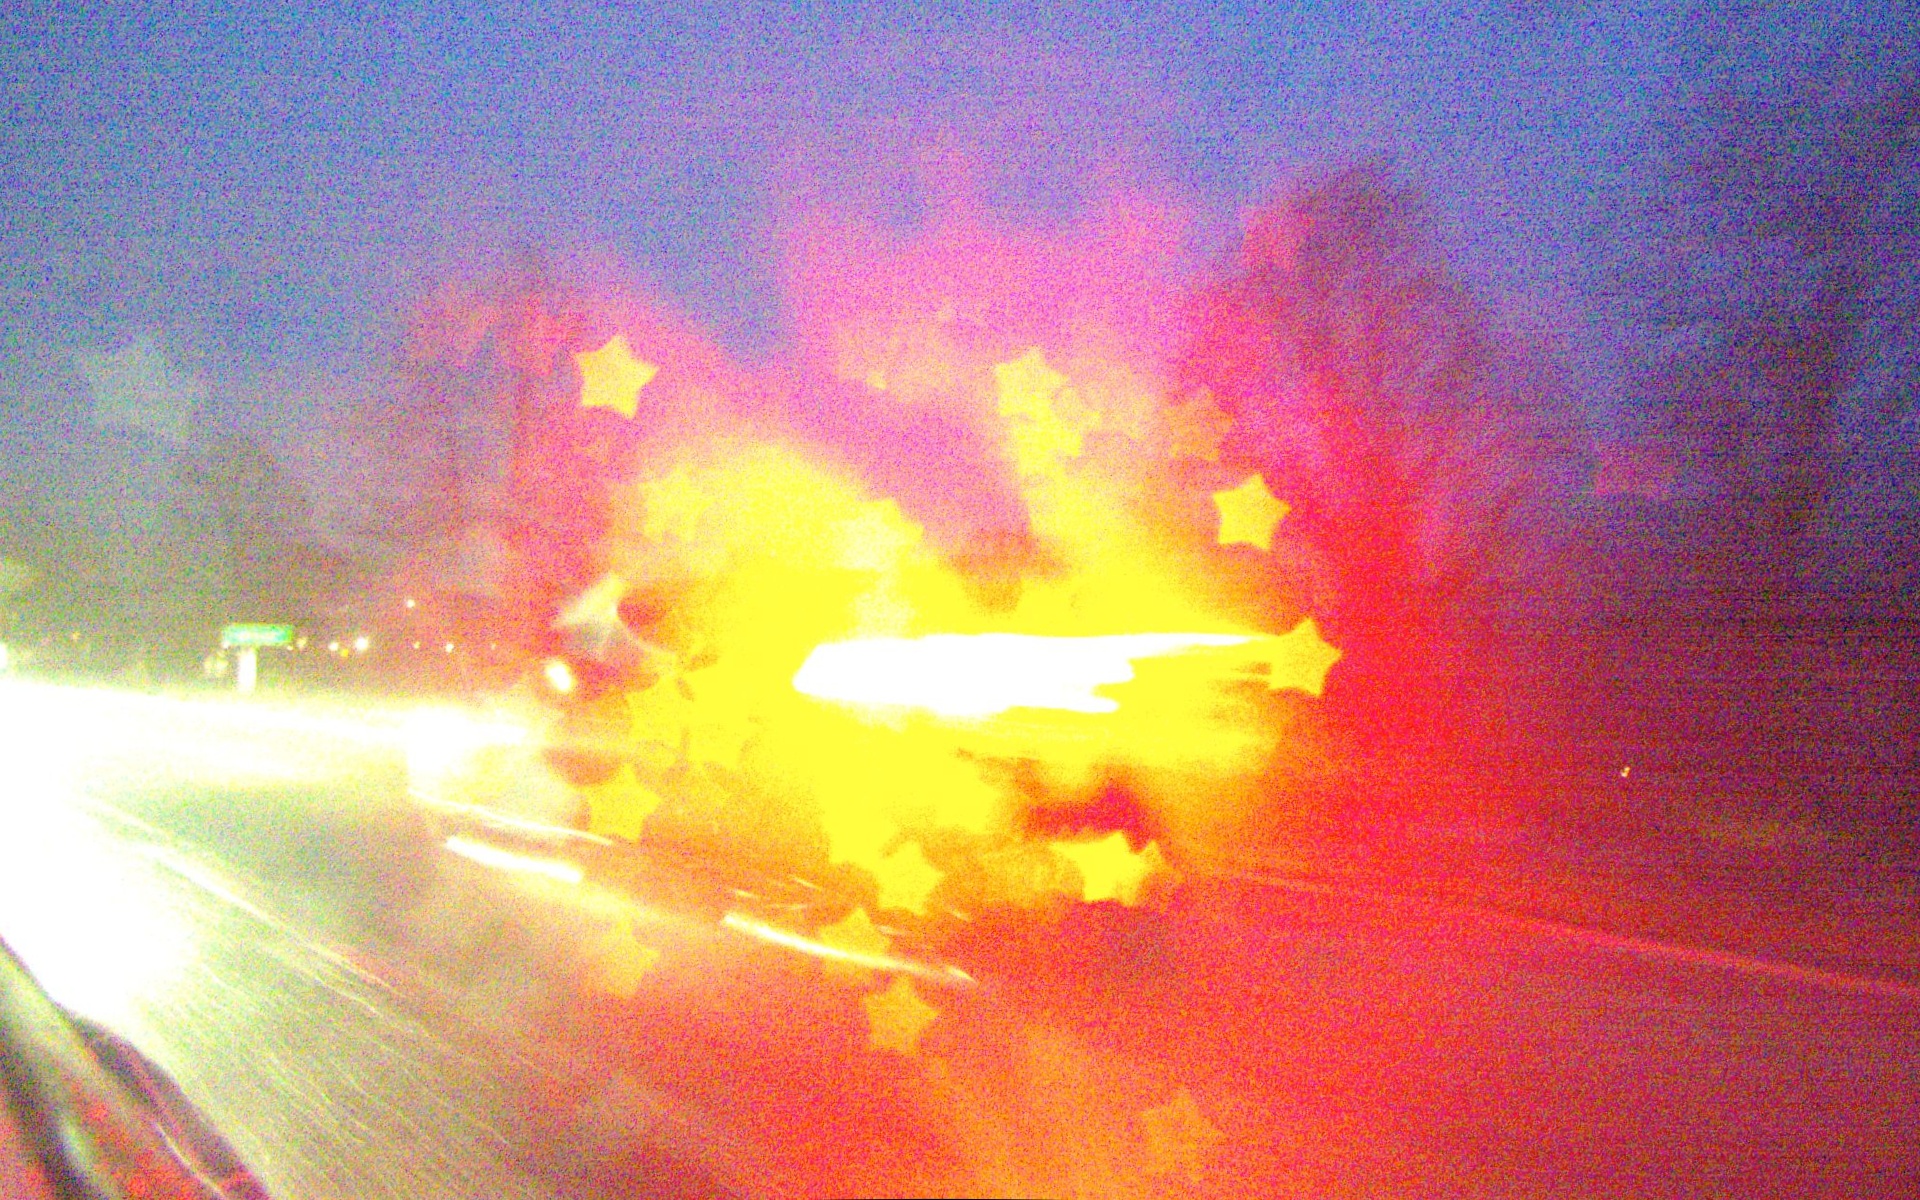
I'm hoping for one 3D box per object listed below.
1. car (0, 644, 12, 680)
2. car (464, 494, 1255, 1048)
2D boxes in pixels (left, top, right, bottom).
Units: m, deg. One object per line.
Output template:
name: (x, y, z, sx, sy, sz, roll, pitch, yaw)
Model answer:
car: (-51.511, 3.026, 51.108, 1.930, 1.852, 4.890, -2, -6, 36)
car: (-0.765, 0.599, 5.181, 3.958, 1.733, 1.823, -2, -2, 41)
